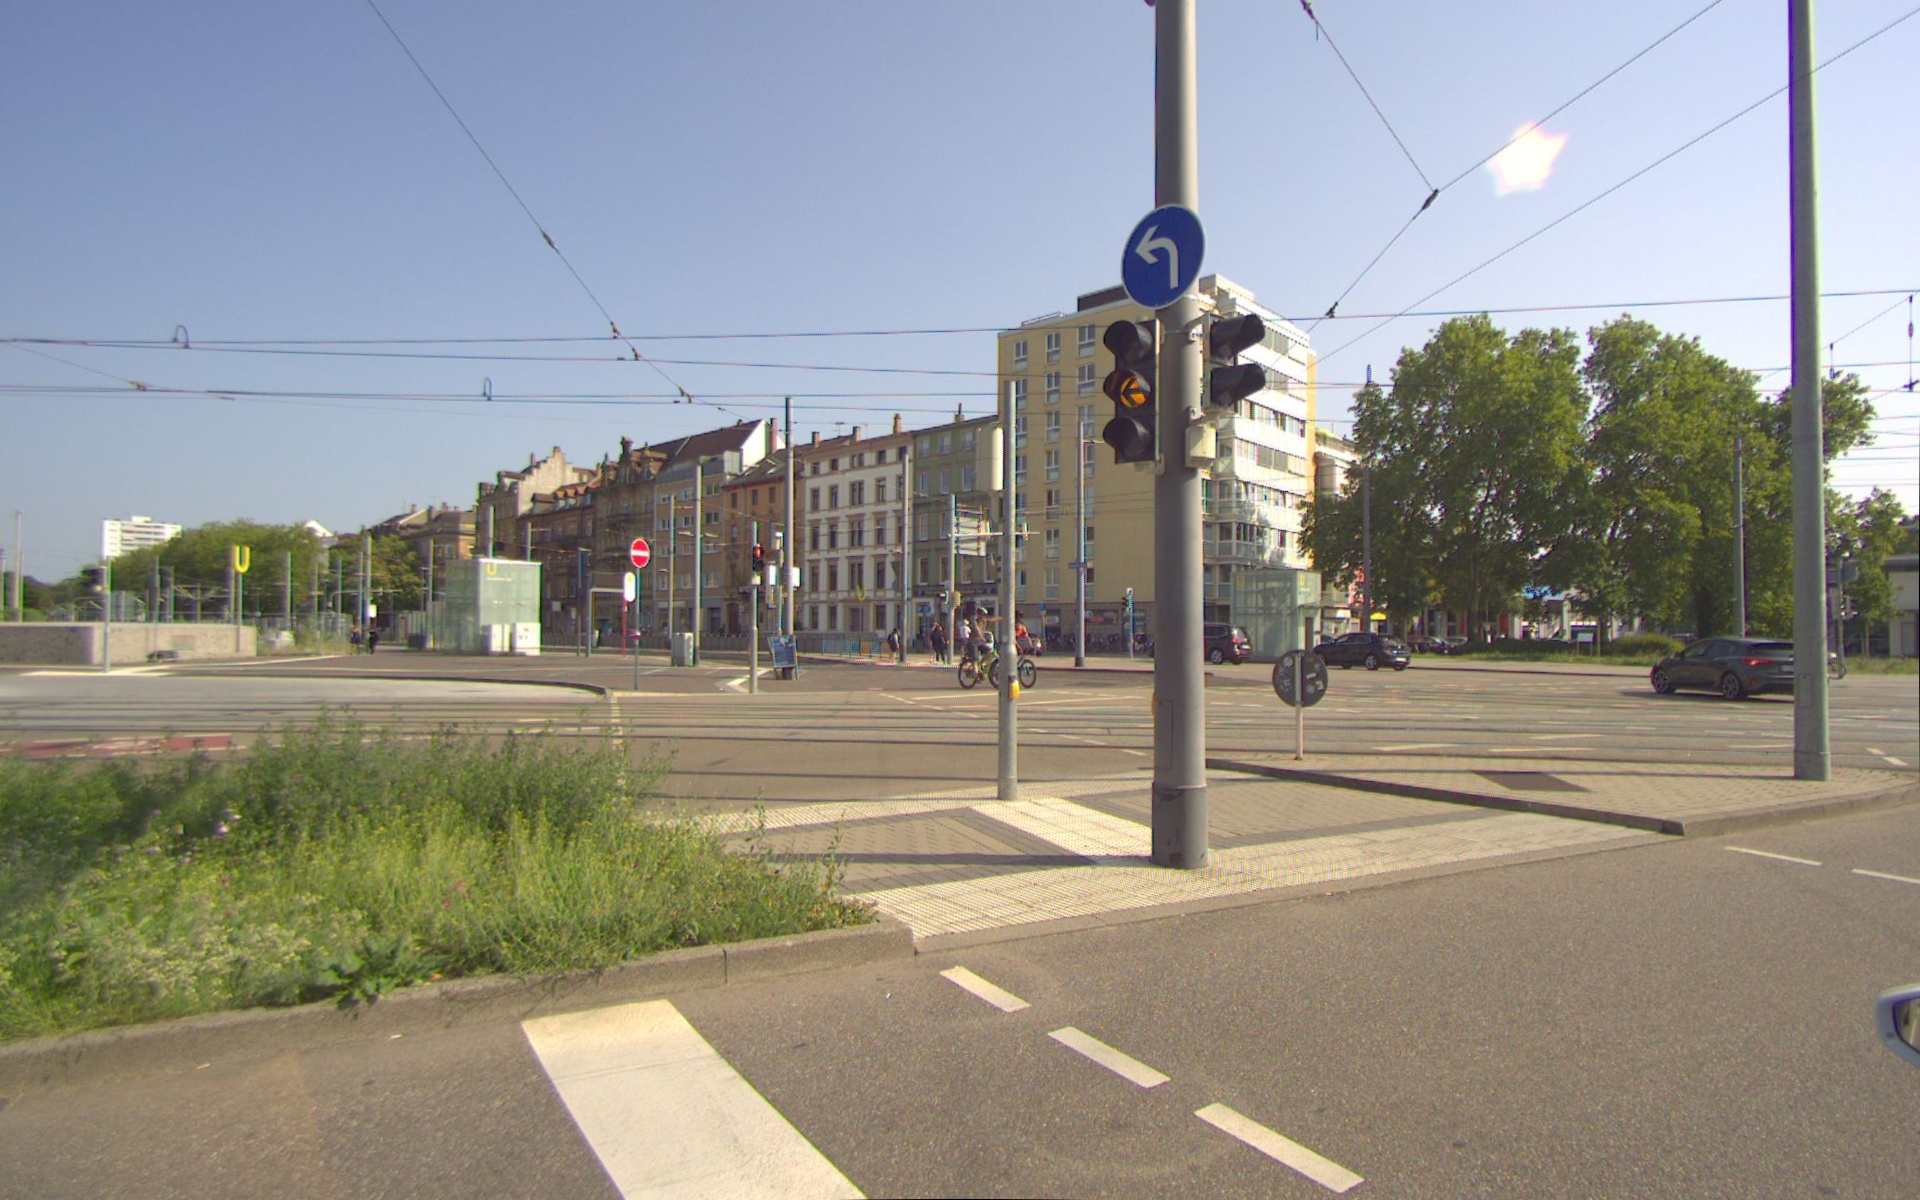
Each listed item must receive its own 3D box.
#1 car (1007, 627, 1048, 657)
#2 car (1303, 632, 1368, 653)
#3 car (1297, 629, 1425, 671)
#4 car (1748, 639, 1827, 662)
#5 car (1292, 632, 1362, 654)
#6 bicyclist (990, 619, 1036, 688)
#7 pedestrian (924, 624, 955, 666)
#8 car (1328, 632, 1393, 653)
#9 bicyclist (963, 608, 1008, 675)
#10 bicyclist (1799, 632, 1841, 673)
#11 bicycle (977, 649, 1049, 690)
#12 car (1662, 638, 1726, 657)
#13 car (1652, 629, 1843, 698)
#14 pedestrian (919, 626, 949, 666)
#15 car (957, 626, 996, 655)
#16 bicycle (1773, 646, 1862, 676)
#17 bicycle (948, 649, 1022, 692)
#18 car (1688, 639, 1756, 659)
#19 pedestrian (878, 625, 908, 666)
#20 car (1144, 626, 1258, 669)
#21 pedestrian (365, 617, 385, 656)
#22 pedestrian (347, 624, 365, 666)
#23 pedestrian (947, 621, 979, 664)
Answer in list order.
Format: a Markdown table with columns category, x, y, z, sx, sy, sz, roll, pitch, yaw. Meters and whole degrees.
| category | x | y | z | sx | sy | sz | roll | pitch | yaw |
| --- | --- | --- | --- | --- | --- | --- | --- | --- | --- |
| car | 3.939 | 2.443 | 59.519 | 1.961 | 1.700 | 4.550 | 1 | -1 | -2 |
| car | 26.696 | 3.015 | 71.468 | 4.109 | 1.372 | 1.570 | 0 | -2 | 41 |
| car | 15.425 | 1.881 | 38.817 | 1.677 | 1.511 | 4.315 | 2 | -2 | -44 |
| car | 58.971 | 3.567 | 71.655 | 1.682 | 1.542 | 4.074 | 1 | -2 | -25 |
| car | 24.386 | 2.859 | 66.849 | 4.109 | 1.372 | 1.570 | 0 | -2 | 41 |
| bicyclist | 1.315 | 1.312 | 24.819 | 0.721 | 1.674 | 0.873 | 2 | -2 | -42 |
| pedestrian | -0.878 | 1.894 | 42.399 | 0.912 | 1.712 | 0.917 | 0 | -2 | 42 |
| car | 29.032 | 3.078 | 72.880 | 4.109 | 1.372 | 1.570 | 0 | -2 | 41 |
| bicyclist | 0.605 | 0.983 | 23.915 | 0.721 | 1.547 | 0.787 | 2 | -2 | -42 |
| bicyclist | 33.690 | 2.042 | 39.361 | 0.954 | 1.547 | 1.151 | 2 | 0 | -44 |
| bicycle | 1.294 | 1.696 | 24.833 | 0.721 | 0.944 | 1.797 | 2 | -2 | -41 |
| car | 64.574 | 4.185 | 88.408 | 4.425 | 1.542 | 1.705 | 1 | -1 | 1 |
| car | 18.521 | 1.435 | 23.914 | 1.801 | 1.454 | 4.553 | 1 | -2 | 13 |
| pedestrian | -1.122 | 2.002 | 43.719 | 0.912 | 1.712 | 0.917 | 0 | -2 | 42 |
| car | 0.993 | 2.505 | 63.131 | 1.962 | 1.700 | 4.547 | 1 | -1 | -6 |
| bicycle | 33.617 | 2.381 | 39.423 | 0.954 | 1.071 | 2.574 | 2 | -2 | -44 |
| bicycle | 0.578 | 1.649 | 23.927 | 0.721 | 0.944 | 1.797 | 2 | -2 | -41 |
| car | 63.925 | 4.083 | 84.342 | 4.425 | 1.542 | 1.705 | 1 | -1 | 1 |
| pedestrian | -2.897 | 1.952 | 43.454 | 0.912 | 1.712 | 0.917 | 0 | -2 | 42 |
| car | 10.449 | 2.031 | 43.776 | 1.987 | 1.701 | 4.490 | 2 | -2 | -44 |
| pedestrian | -26.917 | 1.679 | 46.206 | 0.744 | 1.806 | 0.701 | 1 | -2 | -34 |
| pedestrian | -27.510 | 2.043 | 45.754 | 0.646 | 1.891 | 0.715 | 1 | -2 | -34 |
| pedestrian | 0.112 | 1.733 | 41.067 | 0.912 | 1.712 | 0.917 | 0 | -2 | 42 |
